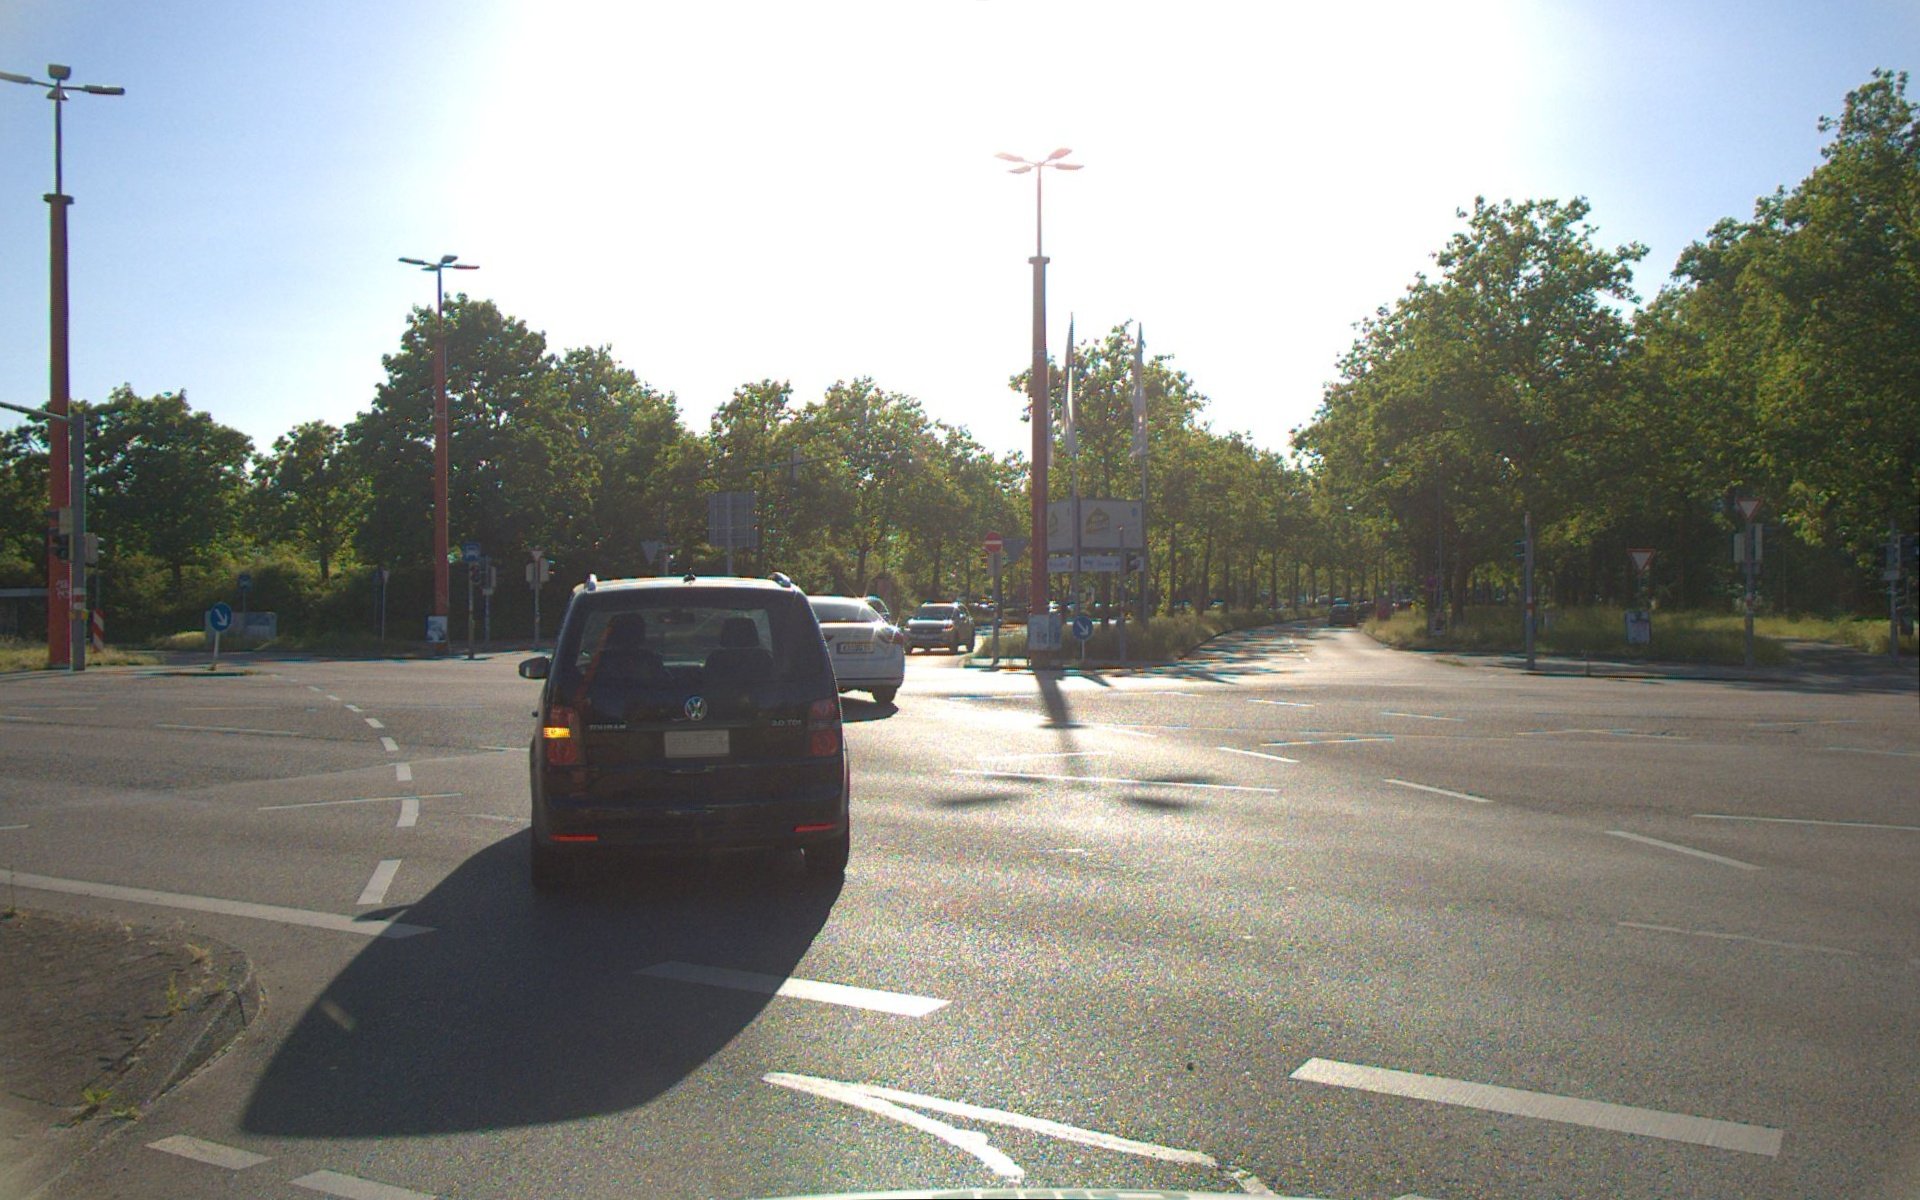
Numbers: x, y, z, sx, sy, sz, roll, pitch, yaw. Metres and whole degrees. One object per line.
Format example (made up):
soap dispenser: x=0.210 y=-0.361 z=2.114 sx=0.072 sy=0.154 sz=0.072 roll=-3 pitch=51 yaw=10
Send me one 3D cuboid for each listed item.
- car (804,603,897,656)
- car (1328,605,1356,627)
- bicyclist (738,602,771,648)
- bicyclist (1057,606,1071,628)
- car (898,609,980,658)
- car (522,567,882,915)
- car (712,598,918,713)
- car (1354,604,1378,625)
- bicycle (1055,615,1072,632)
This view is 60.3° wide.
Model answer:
car: x=-3.719 y=0.982 z=56.994 sx=1.862 sy=1.757 sz=4.657 roll=0 pitch=0 yaw=14
car: x=25.475 y=1.082 z=110.346 sx=1.751 sy=1.412 sz=4.053 roll=1 pitch=0 yaw=14
bicyclist: x=-7.166 y=0.866 z=57.582 sx=0.743 sy=1.585 sz=0.981 roll=-1 pitch=0 yaw=21
bicyclist: x=7.053 y=1.172 z=112.597 sx=0.719 sy=1.462 sz=0.966 roll=-1 pitch=-1 yaw=18
car: x=-0.645 y=1.069 z=54.269 sx=1.730 sy=1.565 sz=4.094 roll=0 pitch=0 yaw=13
car: x=-1.587 y=0.690 z=10.515 sx=1.734 sy=1.673 sz=4.914 roll=0 pitch=0 yaw=-8
car: x=-2.191 y=0.728 z=23.820 sx=1.743 sy=1.489 sz=4.335 roll=0 pitch=0 yaw=-23
car: x=34.584 y=1.229 z=141.025 sx=1.832 sy=1.655 sz=4.003 roll=1 pitch=-1 yaw=12
bicycle: x=7.058 y=1.578 z=112.600 sx=0.719 sy=1.110 sz=2.016 roll=-1 pitch=-1 yaw=18
